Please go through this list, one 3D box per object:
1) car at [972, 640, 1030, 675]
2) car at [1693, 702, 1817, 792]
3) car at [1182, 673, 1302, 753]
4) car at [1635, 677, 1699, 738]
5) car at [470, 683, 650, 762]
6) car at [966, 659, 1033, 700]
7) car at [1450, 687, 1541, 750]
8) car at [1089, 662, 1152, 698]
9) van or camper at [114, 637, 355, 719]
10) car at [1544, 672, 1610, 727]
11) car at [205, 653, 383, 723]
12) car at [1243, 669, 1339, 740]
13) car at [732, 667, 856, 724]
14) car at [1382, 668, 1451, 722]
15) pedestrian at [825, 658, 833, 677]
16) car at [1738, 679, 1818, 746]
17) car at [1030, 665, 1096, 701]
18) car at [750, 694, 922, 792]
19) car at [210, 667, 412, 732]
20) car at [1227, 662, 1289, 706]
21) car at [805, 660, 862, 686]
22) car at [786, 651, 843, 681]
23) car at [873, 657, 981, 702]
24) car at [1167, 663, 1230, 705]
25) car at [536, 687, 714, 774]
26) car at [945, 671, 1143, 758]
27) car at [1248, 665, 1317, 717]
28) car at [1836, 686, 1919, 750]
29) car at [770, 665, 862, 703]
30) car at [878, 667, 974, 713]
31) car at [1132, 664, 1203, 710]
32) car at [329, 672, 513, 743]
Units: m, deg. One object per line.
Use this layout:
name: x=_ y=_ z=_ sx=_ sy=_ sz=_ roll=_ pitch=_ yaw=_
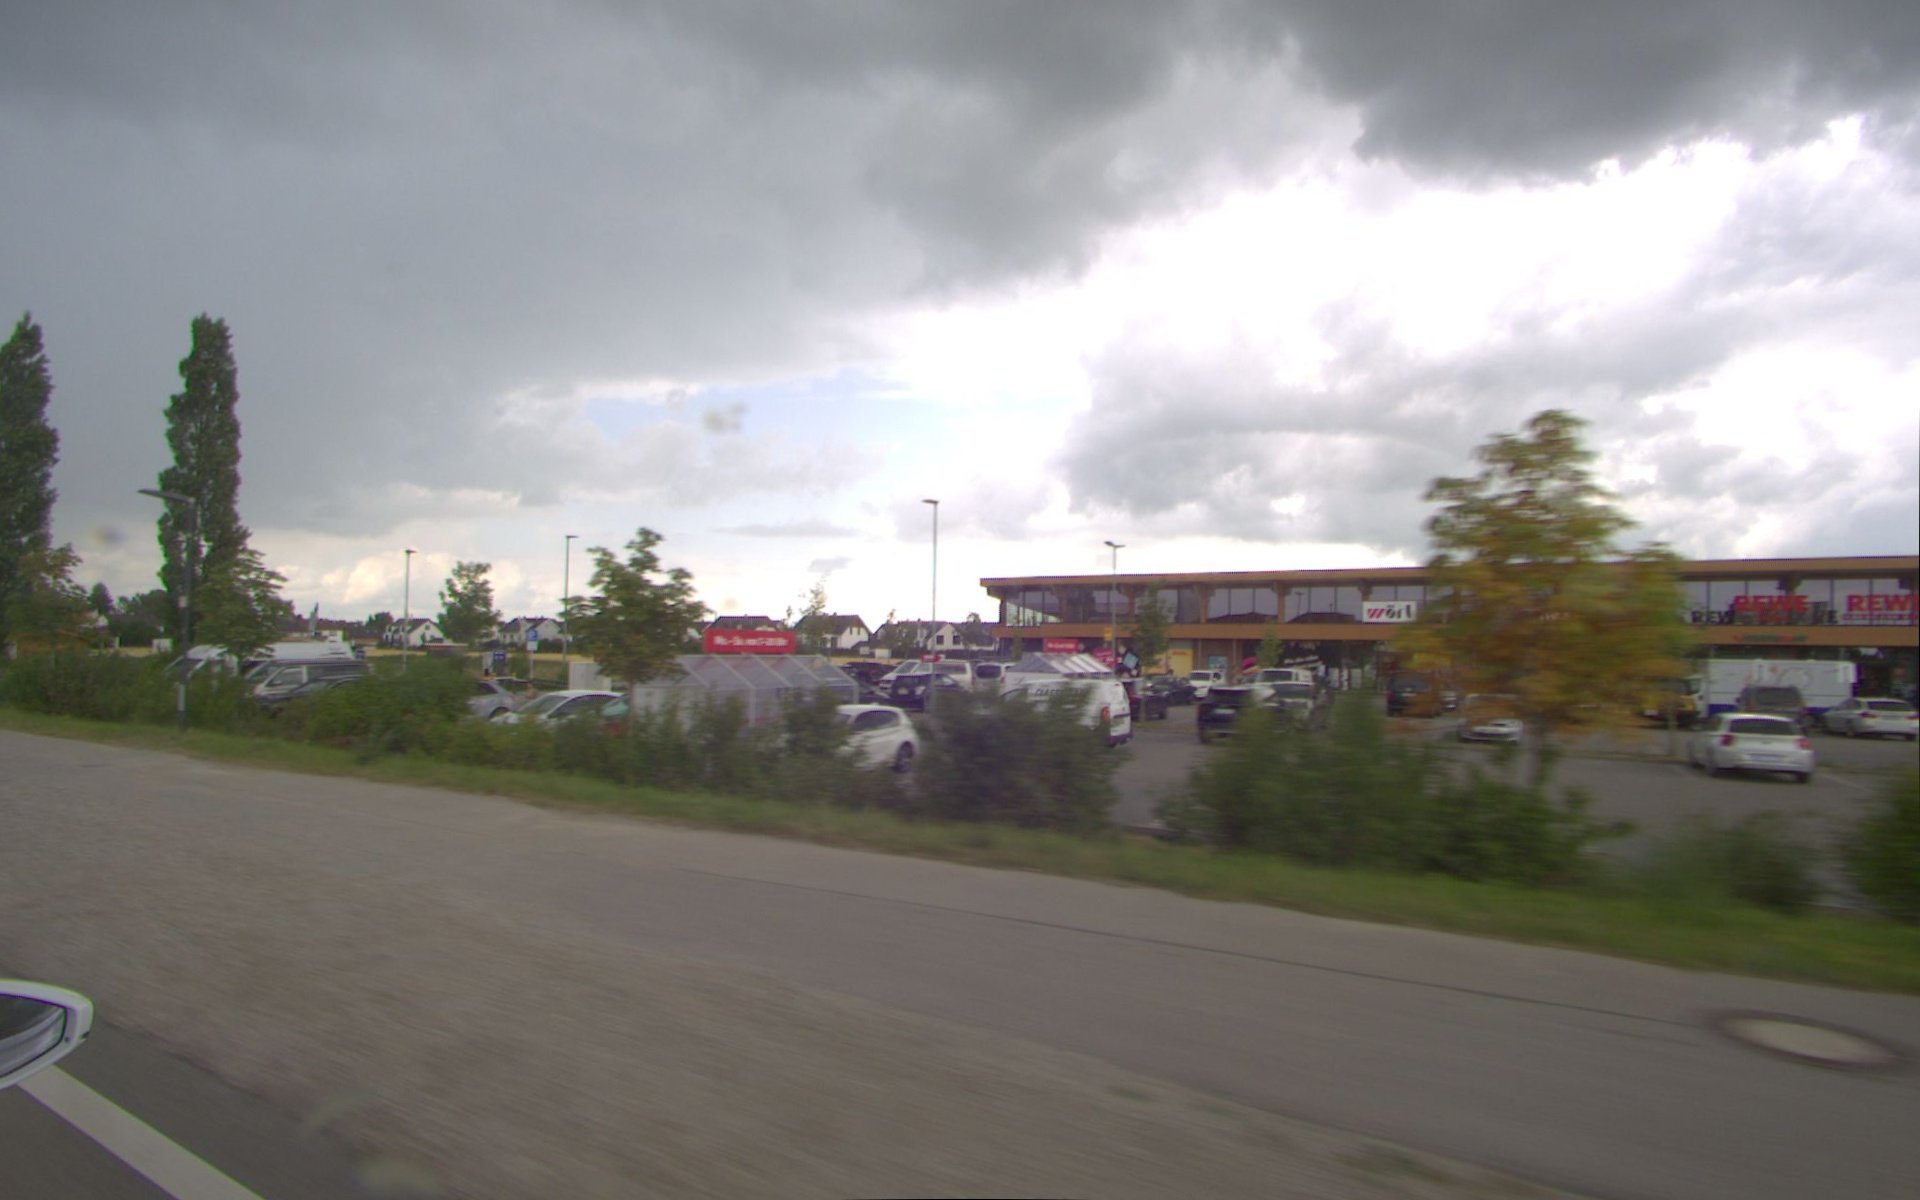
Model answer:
car: x=2.564 y=3.494 z=61.477 sx=1.823 sy=2.036 sz=4.212 roll=0 pitch=-1 yaw=30
car: x=18.032 y=3.267 z=22.868 sx=1.727 sy=1.552 sz=3.544 roll=0 pitch=-1 yaw=31
car: x=8.215 y=3.177 z=28.931 sx=1.974 sy=1.895 sz=4.247 roll=-1 pitch=-1 yaw=36
car: x=27.604 y=4.127 z=39.073 sx=1.974 sy=2.039 sz=3.974 roll=0 pitch=-1 yaw=36
car: x=-10.030 y=3.027 z=25.410 sx=1.651 sy=1.558 sz=4.142 roll=0 pitch=-1 yaw=30
car: x=2.159 y=4.223 z=53.643 sx=2.008 sy=1.936 sz=3.888 roll=0 pitch=-1 yaw=30
car: x=16.831 y=3.639 z=31.401 sx=1.974 sy=1.572 sz=4.105 roll=-1 pitch=-1 yaw=36
car: x=9.035 y=4.470 z=56.261 sx=1.920 sy=1.772 sz=3.974 roll=-1 pitch=-1 yaw=36
van or camper: x=-25.029 y=2.583 z=34.917 sx=2.247 sy=2.496 sz=6.460 roll=0 pitch=-1 yaw=29
car: x=25.016 y=4.008 z=40.563 sx=1.974 sy=2.038 sz=3.978 roll=0 pitch=-4 yaw=36
car: x=-22.191 y=2.852 z=33.569 sx=1.970 sy=2.039 sz=4.588 roll=0 pitch=-1 yaw=30
car: x=11.230 y=3.464 z=33.855 sx=1.974 sy=2.039 sz=3.974 roll=0 pitch=-1 yaw=36
car: x=-5.646 y=3.221 z=34.390 sx=1.974 sy=1.639 sz=3.974 roll=-1 pitch=-1 yaw=36
car: x=19.776 y=4.055 z=43.279 sx=1.974 sy=2.039 sz=3.974 roll=0 pitch=-1 yaw=36
pedestrian: x=-12.202 y=6.262 z=93.087 sx=0.591 sy=1.784 sz=0.481 roll=0 pitch=0 yaw=32
car: x=29.745 y=4.037 z=36.537 sx=2.044 sy=2.039 sz=3.974 roll=-1 pitch=-1 yaw=36
car: x=5.387 y=4.277 z=51.938 sx=2.010 sy=1.628 sz=3.731 roll=0 pitch=-1 yaw=32
car: x=-2.480 y=2.876 z=20.891 sx=1.651 sy=1.558 sz=3.752 roll=0 pitch=-1 yaw=30
car: x=-20.076 y=3.012 z=31.252 sx=1.732 sy=1.618 sz=5.090 roll=0 pitch=-1 yaw=30
car: x=15.915 y=4.423 z=53.340 sx=1.971 sy=2.039 sz=5.122 roll=0 pitch=-1 yaw=31
car: x=-8.491 y=4.877 z=67.083 sx=3.528 sy=1.527 sz=1.742 roll=-1 pitch=-1 yaw=32
car: x=-10.842 y=4.906 z=74.546 sx=3.943 sy=2.040 sz=1.990 roll=-1 pitch=-1 yaw=32
car: x=-1.617 y=3.924 z=50.017 sx=5.163 sy=2.040 sz=1.988 roll=1 pitch=-1 yaw=-33
car: x=13.013 y=4.509 z=54.487 sx=1.974 sy=2.039 sz=3.974 roll=0 pitch=-1 yaw=36
car: x=-7.577 y=2.914 z=22.978 sx=1.651 sy=1.558 sz=3.752 roll=0 pitch=-1 yaw=30
car: x=2.222 y=2.954 z=26.744 sx=4.868 sy=1.931 sz=2.101 roll=-1 pitch=-1 yaw=30
car: x=14.856 y=4.108 z=45.953 sx=1.971 sy=2.039 sz=5.122 roll=0 pitch=-1 yaw=31
car: x=32.721 y=4.124 z=35.591 sx=2.044 sy=1.872 sz=3.974 roll=-1 pitch=-1 yaw=36
car: x=-6.338 y=3.688 z=44.527 sx=1.874 sy=1.451 sz=4.173 roll=0 pitch=-1 yaw=30
car: x=-1.379 y=3.701 z=41.774 sx=1.974 sy=1.639 sz=3.974 roll=-1 pitch=-1 yaw=36
car: x=10.366 y=4.276 z=49.825 sx=1.974 sy=2.039 sz=3.974 roll=0 pitch=-1 yaw=36
car: x=-15.055 y=2.950 z=28.181 sx=2.049 sy=1.618 sz=4.142 roll=0 pitch=-1 yaw=30
